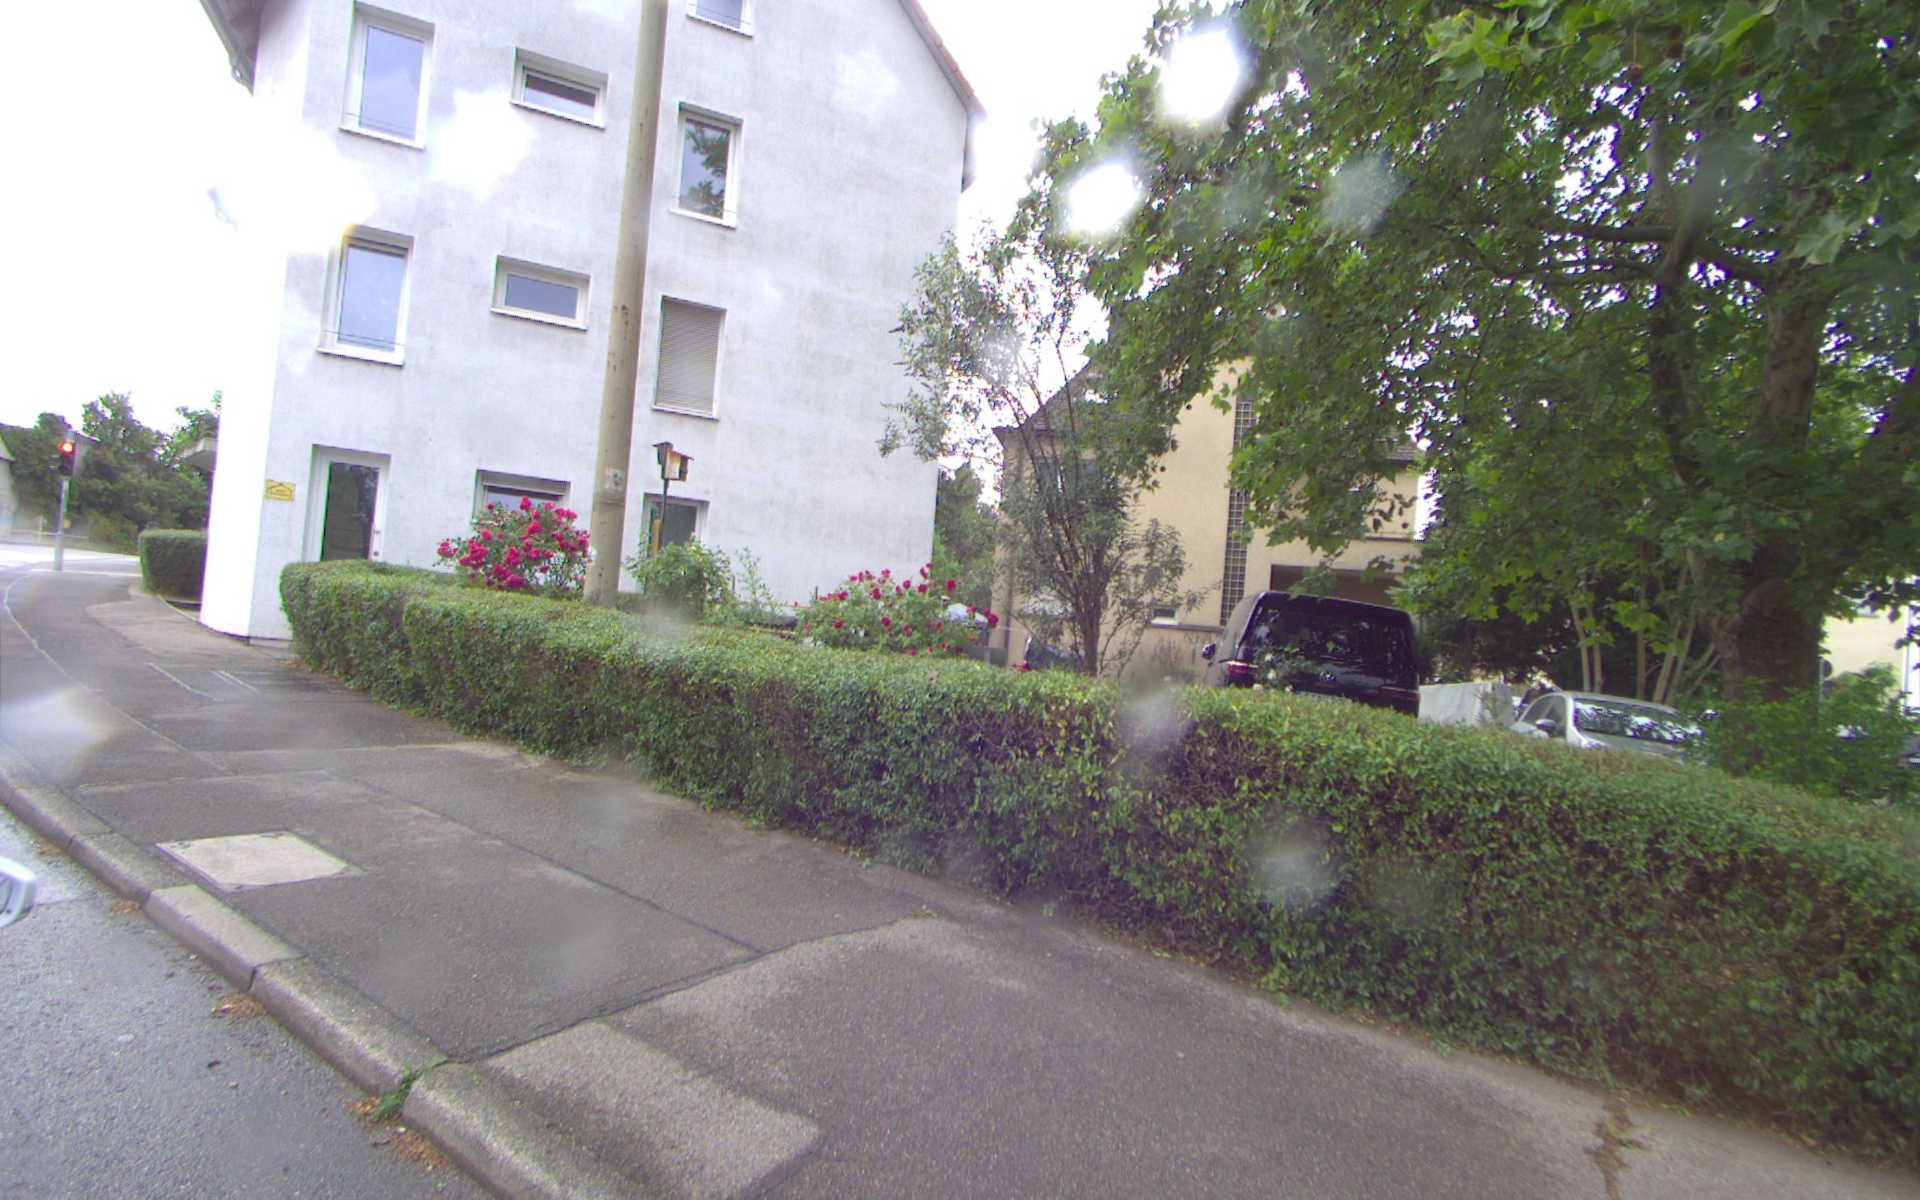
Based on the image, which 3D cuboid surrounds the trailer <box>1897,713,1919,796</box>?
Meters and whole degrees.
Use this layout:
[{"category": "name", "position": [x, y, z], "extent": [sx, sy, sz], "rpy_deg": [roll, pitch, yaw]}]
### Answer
[{"category": "trailer", "position": [24.721, 3.919, 23.976], "extent": [1.640, 2.037, 3.494], "rpy_deg": [6, -1, 8]}]

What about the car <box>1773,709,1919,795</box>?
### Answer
[{"category": "car", "position": [25.265, 4.207, 27.990], "extent": [1.962, 1.861, 4.584], "rpy_deg": [6, -2, 9]}]

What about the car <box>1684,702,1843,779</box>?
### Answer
[{"category": "car", "position": [26.349, 4.547, 33.235], "extent": [1.962, 1.861, 4.584], "rpy_deg": [6, -2, 9]}]

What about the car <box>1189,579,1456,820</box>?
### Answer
[{"category": "car", "position": [3.759, 0.991, 11.304], "extent": [1.962, 1.955, 4.419], "rpy_deg": [6, -1, 11]}]

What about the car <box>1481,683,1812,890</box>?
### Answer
[{"category": "car", "position": [7.388, 1.879, 11.347], "extent": [1.788, 1.599, 4.003], "rpy_deg": [6, -2, 16]}]
